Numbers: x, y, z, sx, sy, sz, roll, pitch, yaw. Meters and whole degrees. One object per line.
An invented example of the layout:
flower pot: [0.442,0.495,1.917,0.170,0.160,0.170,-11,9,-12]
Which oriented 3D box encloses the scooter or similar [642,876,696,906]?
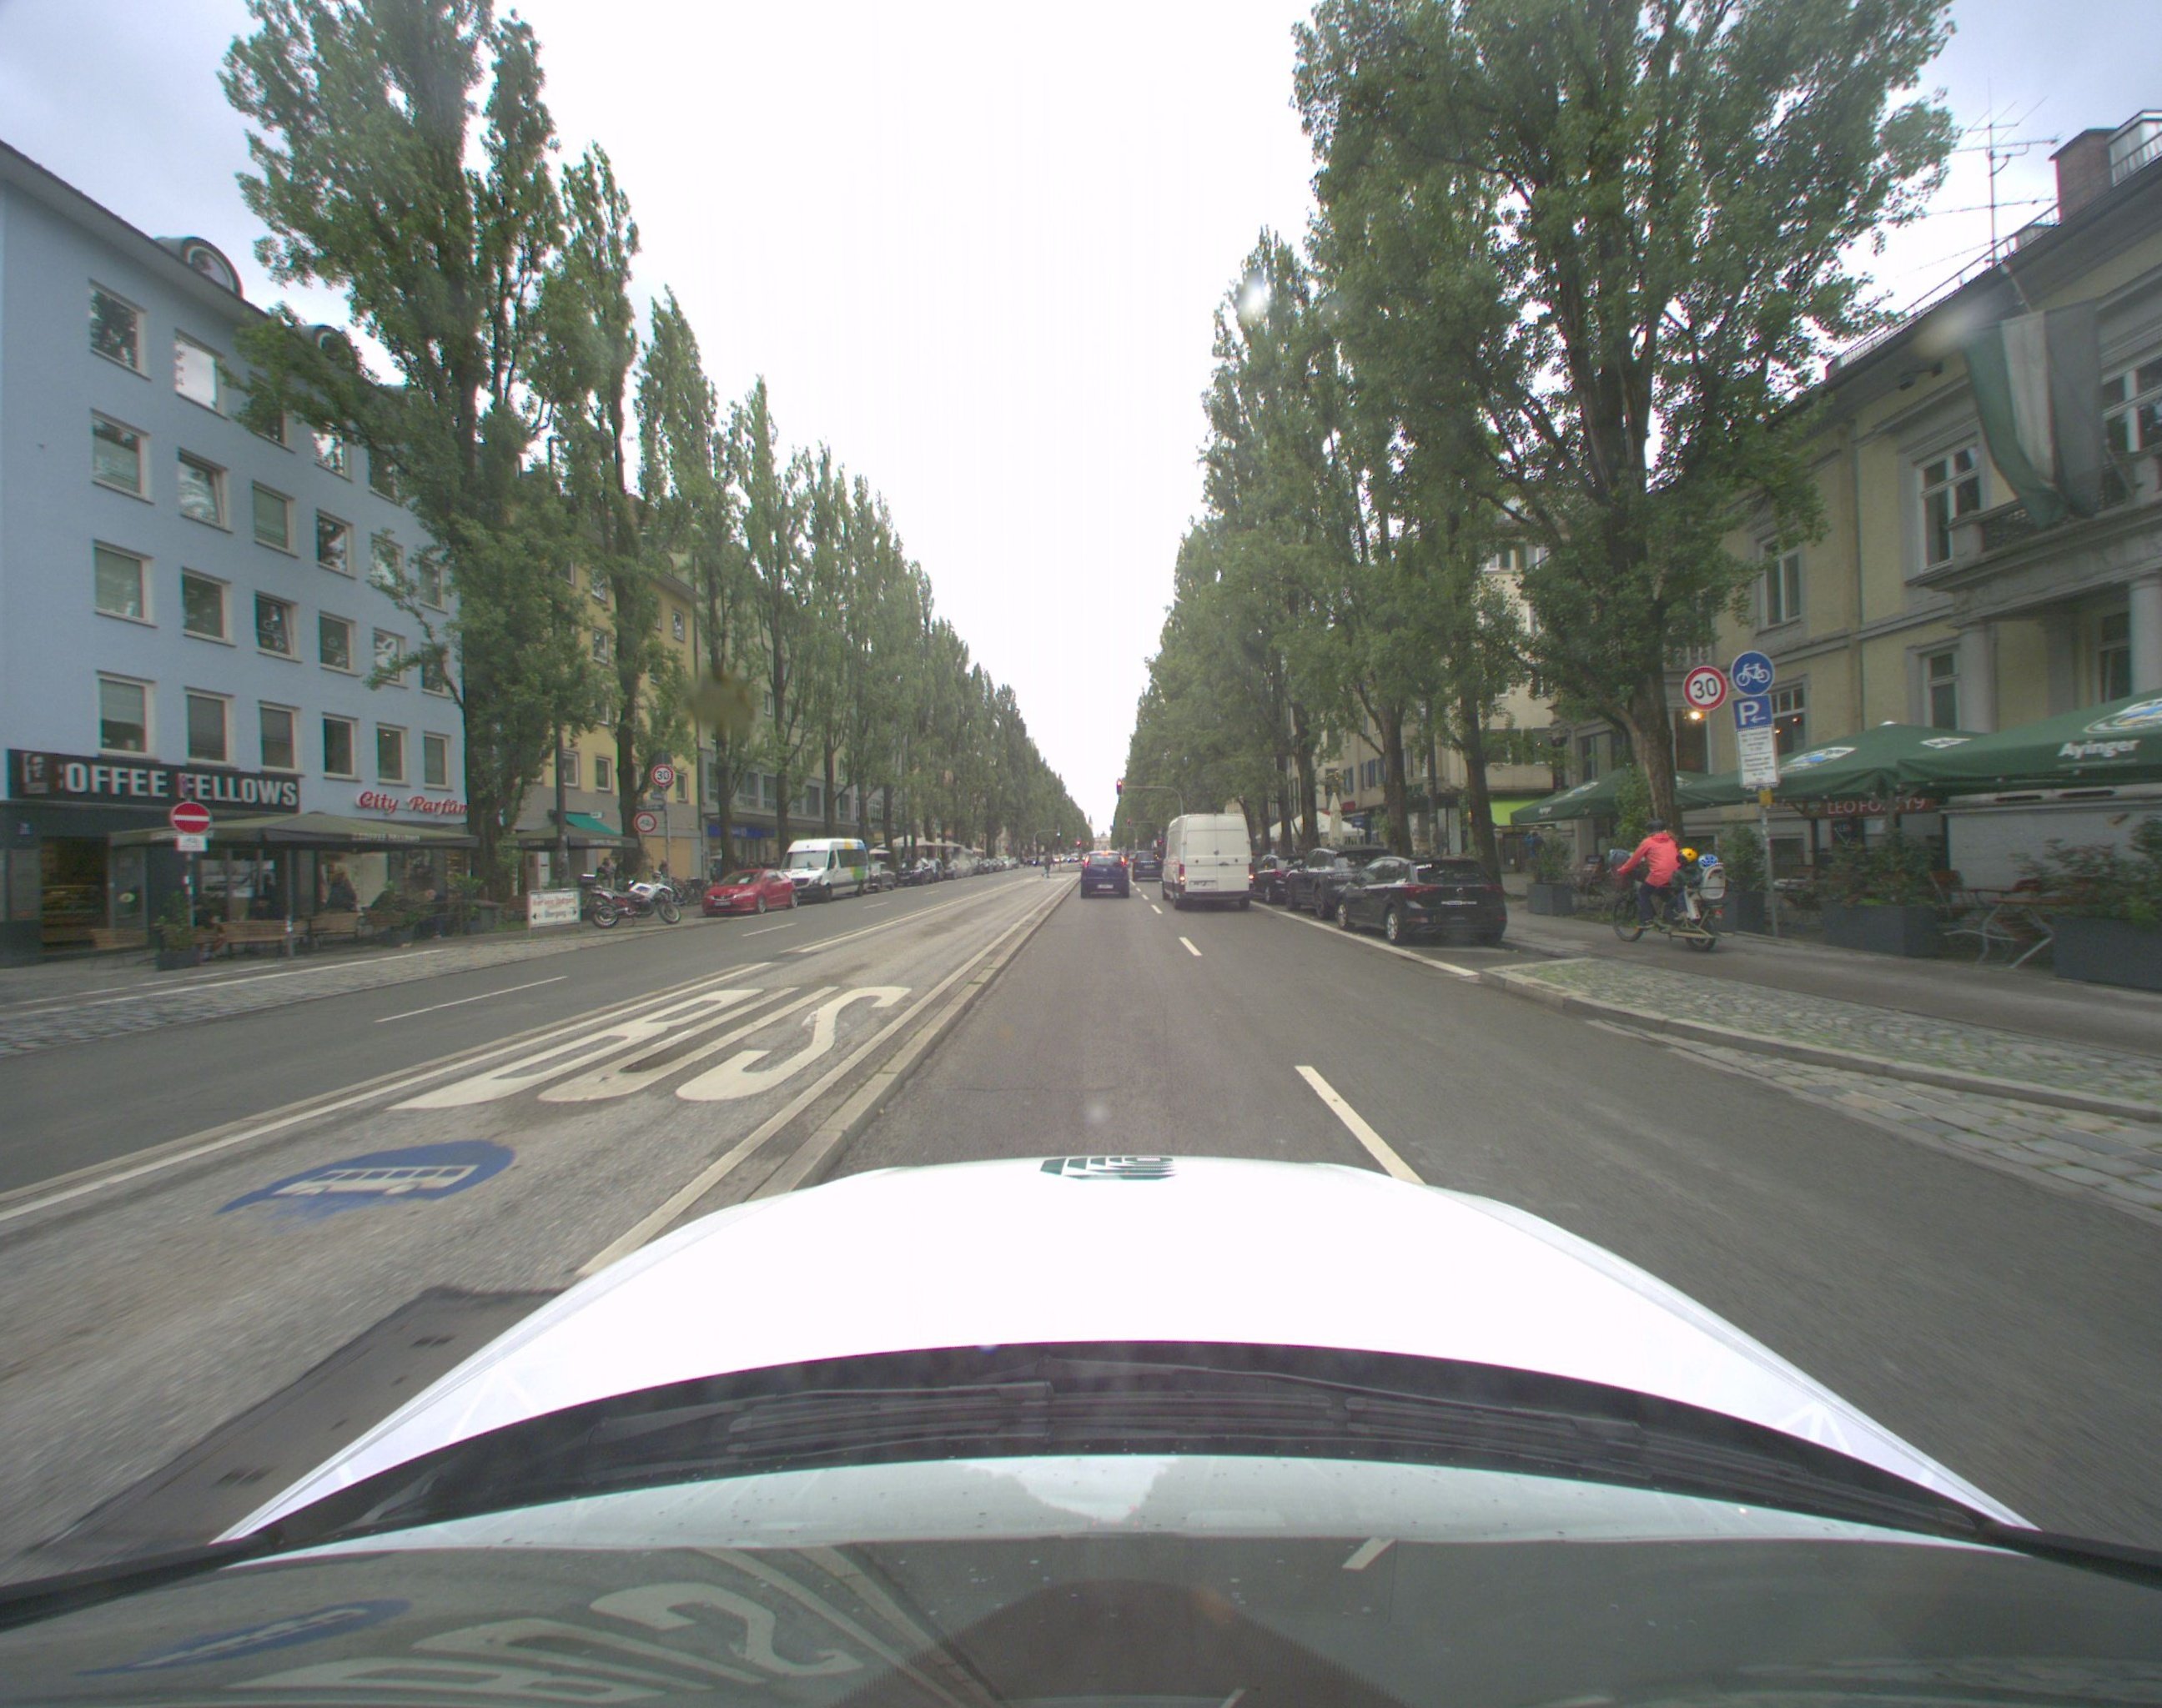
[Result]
scooter or similar: [-15.451,1.397,30.556,1.768,1.026,0.421,-2,0,-2]

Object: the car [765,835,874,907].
car: [-10.683,0.624,34.021,1.998,2.567,6.914,-3,0,2]

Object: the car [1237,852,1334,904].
car: [6.091,0.662,24.796,1.705,1.393,4.340,-1,0,-2]

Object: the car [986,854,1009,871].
car: [-9.005,0.936,88.102,1.859,1.665,4.121,-3,0,1]

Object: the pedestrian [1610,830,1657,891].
pedestrian: [15.535,0.178,22.921,0.867,1.677,0.804,-2,0,20]

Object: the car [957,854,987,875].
car: [-9.532,0.930,71.568,1.859,1.665,4.402,-3,0,1]

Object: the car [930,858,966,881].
car: [-9.833,1.094,60.399,1.792,1.488,4.352,-3,0,1]

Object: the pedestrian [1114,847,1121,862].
pedestrian: [4.649,0.078,103.310,0.719,1.827,0.885,0,-1,-9]

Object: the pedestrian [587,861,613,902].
pedestrian: [-19.509,1.112,33.044,0.691,1.636,0.567,-2,0,25]

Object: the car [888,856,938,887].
car: [-10.121,1.027,49.430,1.859,1.664,4.612,-3,0,1]

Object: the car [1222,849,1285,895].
car: [5.995,0.594,28.528,1.587,1.518,2.728,0,0,-1]

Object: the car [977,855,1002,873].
car: [-9.258,0.974,82.577,1.859,1.665,4.121,-3,0,1]

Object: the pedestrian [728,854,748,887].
pedestrian: [-19.622,0.937,46.590,0.694,1.795,0.728,-2,0,6]

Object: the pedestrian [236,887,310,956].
pedestrian: [-17.076,1.407,17.224,0.694,1.362,0.820,-2,0,4]

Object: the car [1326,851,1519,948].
car: [5.754,0.682,14.256,1.689,1.416,3.950,-1,0,0]

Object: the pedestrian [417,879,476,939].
pedestrian: [-15.342,1.311,19.704,0.695,1.362,0.848,-2,0,0]

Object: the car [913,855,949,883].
car: [-10.084,1.006,54.933,1.705,1.721,3.920,-3,0,-1]

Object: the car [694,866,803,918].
car: [-10.890,1.206,26.982,1.731,1.419,4.150,-3,0,1]

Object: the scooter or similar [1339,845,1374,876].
scooter or similar: [12.806,0.276,37.961,0.634,1.376,2.493,-3,1,-2]

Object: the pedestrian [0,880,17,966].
pedestrian: [-23.122,1.464,16.941,0.953,1.773,0.693,-2,0,-29]

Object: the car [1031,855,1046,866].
car: [-6.010,0.865,115.536,1.691,1.462,4.714,-3,0,1]

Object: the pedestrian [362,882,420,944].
pedestrian: [-16.099,1.356,19.007,0.711,1.362,0.700,-2,0,-1]

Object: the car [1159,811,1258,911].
car: [3.551,0.170,24.018,2.055,2.492,6.733,-1,0,2]

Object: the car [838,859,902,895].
car: [-10.563,1.115,41.074,1.859,1.552,4.416,-3,0,1]

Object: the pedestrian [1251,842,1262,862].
pedestrian: [15.376,-0.157,71.367,0.671,1.686,0.758,-2,-1,-3]

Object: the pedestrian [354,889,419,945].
pedestrian: [-15.622,1.405,18.341,0.813,1.182,0.700,-2,0,0]

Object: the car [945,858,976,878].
car: [-9.657,1.120,65.625,1.727,1.425,4.145,-3,0,1]

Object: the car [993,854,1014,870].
car: [-8.884,0.850,93.364,1.859,1.665,4.121,-3,0,1]

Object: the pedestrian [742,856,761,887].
pedestrian: [-18.806,0.985,46.512,0.694,1.700,0.728,-2,0,6]

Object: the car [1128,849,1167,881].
car: [3.567,0.560,44.409,1.889,1.622,4.002,-1,0,2]

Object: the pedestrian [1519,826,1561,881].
pedestrian: [14.444,-0.018,25.627,0.794,1.677,0.877,-2,0,1]

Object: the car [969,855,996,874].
car: [-9.385,0.995,77.626,1.859,1.665,4.121,-3,0,1]

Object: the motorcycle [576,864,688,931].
motorcycle: [-11.327,1.049,20.614,2.360,1.563,0.706,-1,0,-41]

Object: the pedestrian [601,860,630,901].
pedestrian: [-19.170,1.075,33.558,0.691,1.636,0.731,-2,0,25]

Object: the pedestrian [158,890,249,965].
pedestrian: [-17.213,1.430,15.991,0.694,1.362,0.951,-2,0,4]

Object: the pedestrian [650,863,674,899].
pedestrian: [-19.855,1.280,38.580,0.694,1.636,0.727,-2,0,3]

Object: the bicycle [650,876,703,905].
bicycle: [-15.488,1.402,31.195,1.768,1.026,0.421,-2,0,-2]

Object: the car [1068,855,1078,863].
car: [-1.477,0.900,147.550,1.728,1.465,3.366,-2,0,1]

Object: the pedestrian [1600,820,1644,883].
pedestrian: [15.852,-0.084,23.875,0.867,1.796,0.778,-2,0,19]

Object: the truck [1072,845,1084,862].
truck: [-0.637,-0.107,176.852,2.374,3.346,7.113,-2,0,1]

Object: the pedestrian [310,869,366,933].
pedestrian: [-20.510,1.286,22.487,0.753,1.686,0.786,-2,0,4]

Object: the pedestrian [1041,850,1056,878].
pedestrian: [-2.044,0.636,50.869,0.857,1.684,0.626,-2,0,-2]

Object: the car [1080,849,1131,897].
car: [0.892,0.629,29.240,1.665,1.568,4.002,-1,0,2]

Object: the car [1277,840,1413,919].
car: [6.092,0.543,19.349,1.797,1.637,4.446,-1,0,0]

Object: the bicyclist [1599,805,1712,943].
bicyclist: [7.904,0.264,11.242,0.765,1.766,0.885,-6,0,1]

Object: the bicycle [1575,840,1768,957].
bicycle: [7.913,0.535,11.119,0.770,1.349,2.450,-6,0,1]
